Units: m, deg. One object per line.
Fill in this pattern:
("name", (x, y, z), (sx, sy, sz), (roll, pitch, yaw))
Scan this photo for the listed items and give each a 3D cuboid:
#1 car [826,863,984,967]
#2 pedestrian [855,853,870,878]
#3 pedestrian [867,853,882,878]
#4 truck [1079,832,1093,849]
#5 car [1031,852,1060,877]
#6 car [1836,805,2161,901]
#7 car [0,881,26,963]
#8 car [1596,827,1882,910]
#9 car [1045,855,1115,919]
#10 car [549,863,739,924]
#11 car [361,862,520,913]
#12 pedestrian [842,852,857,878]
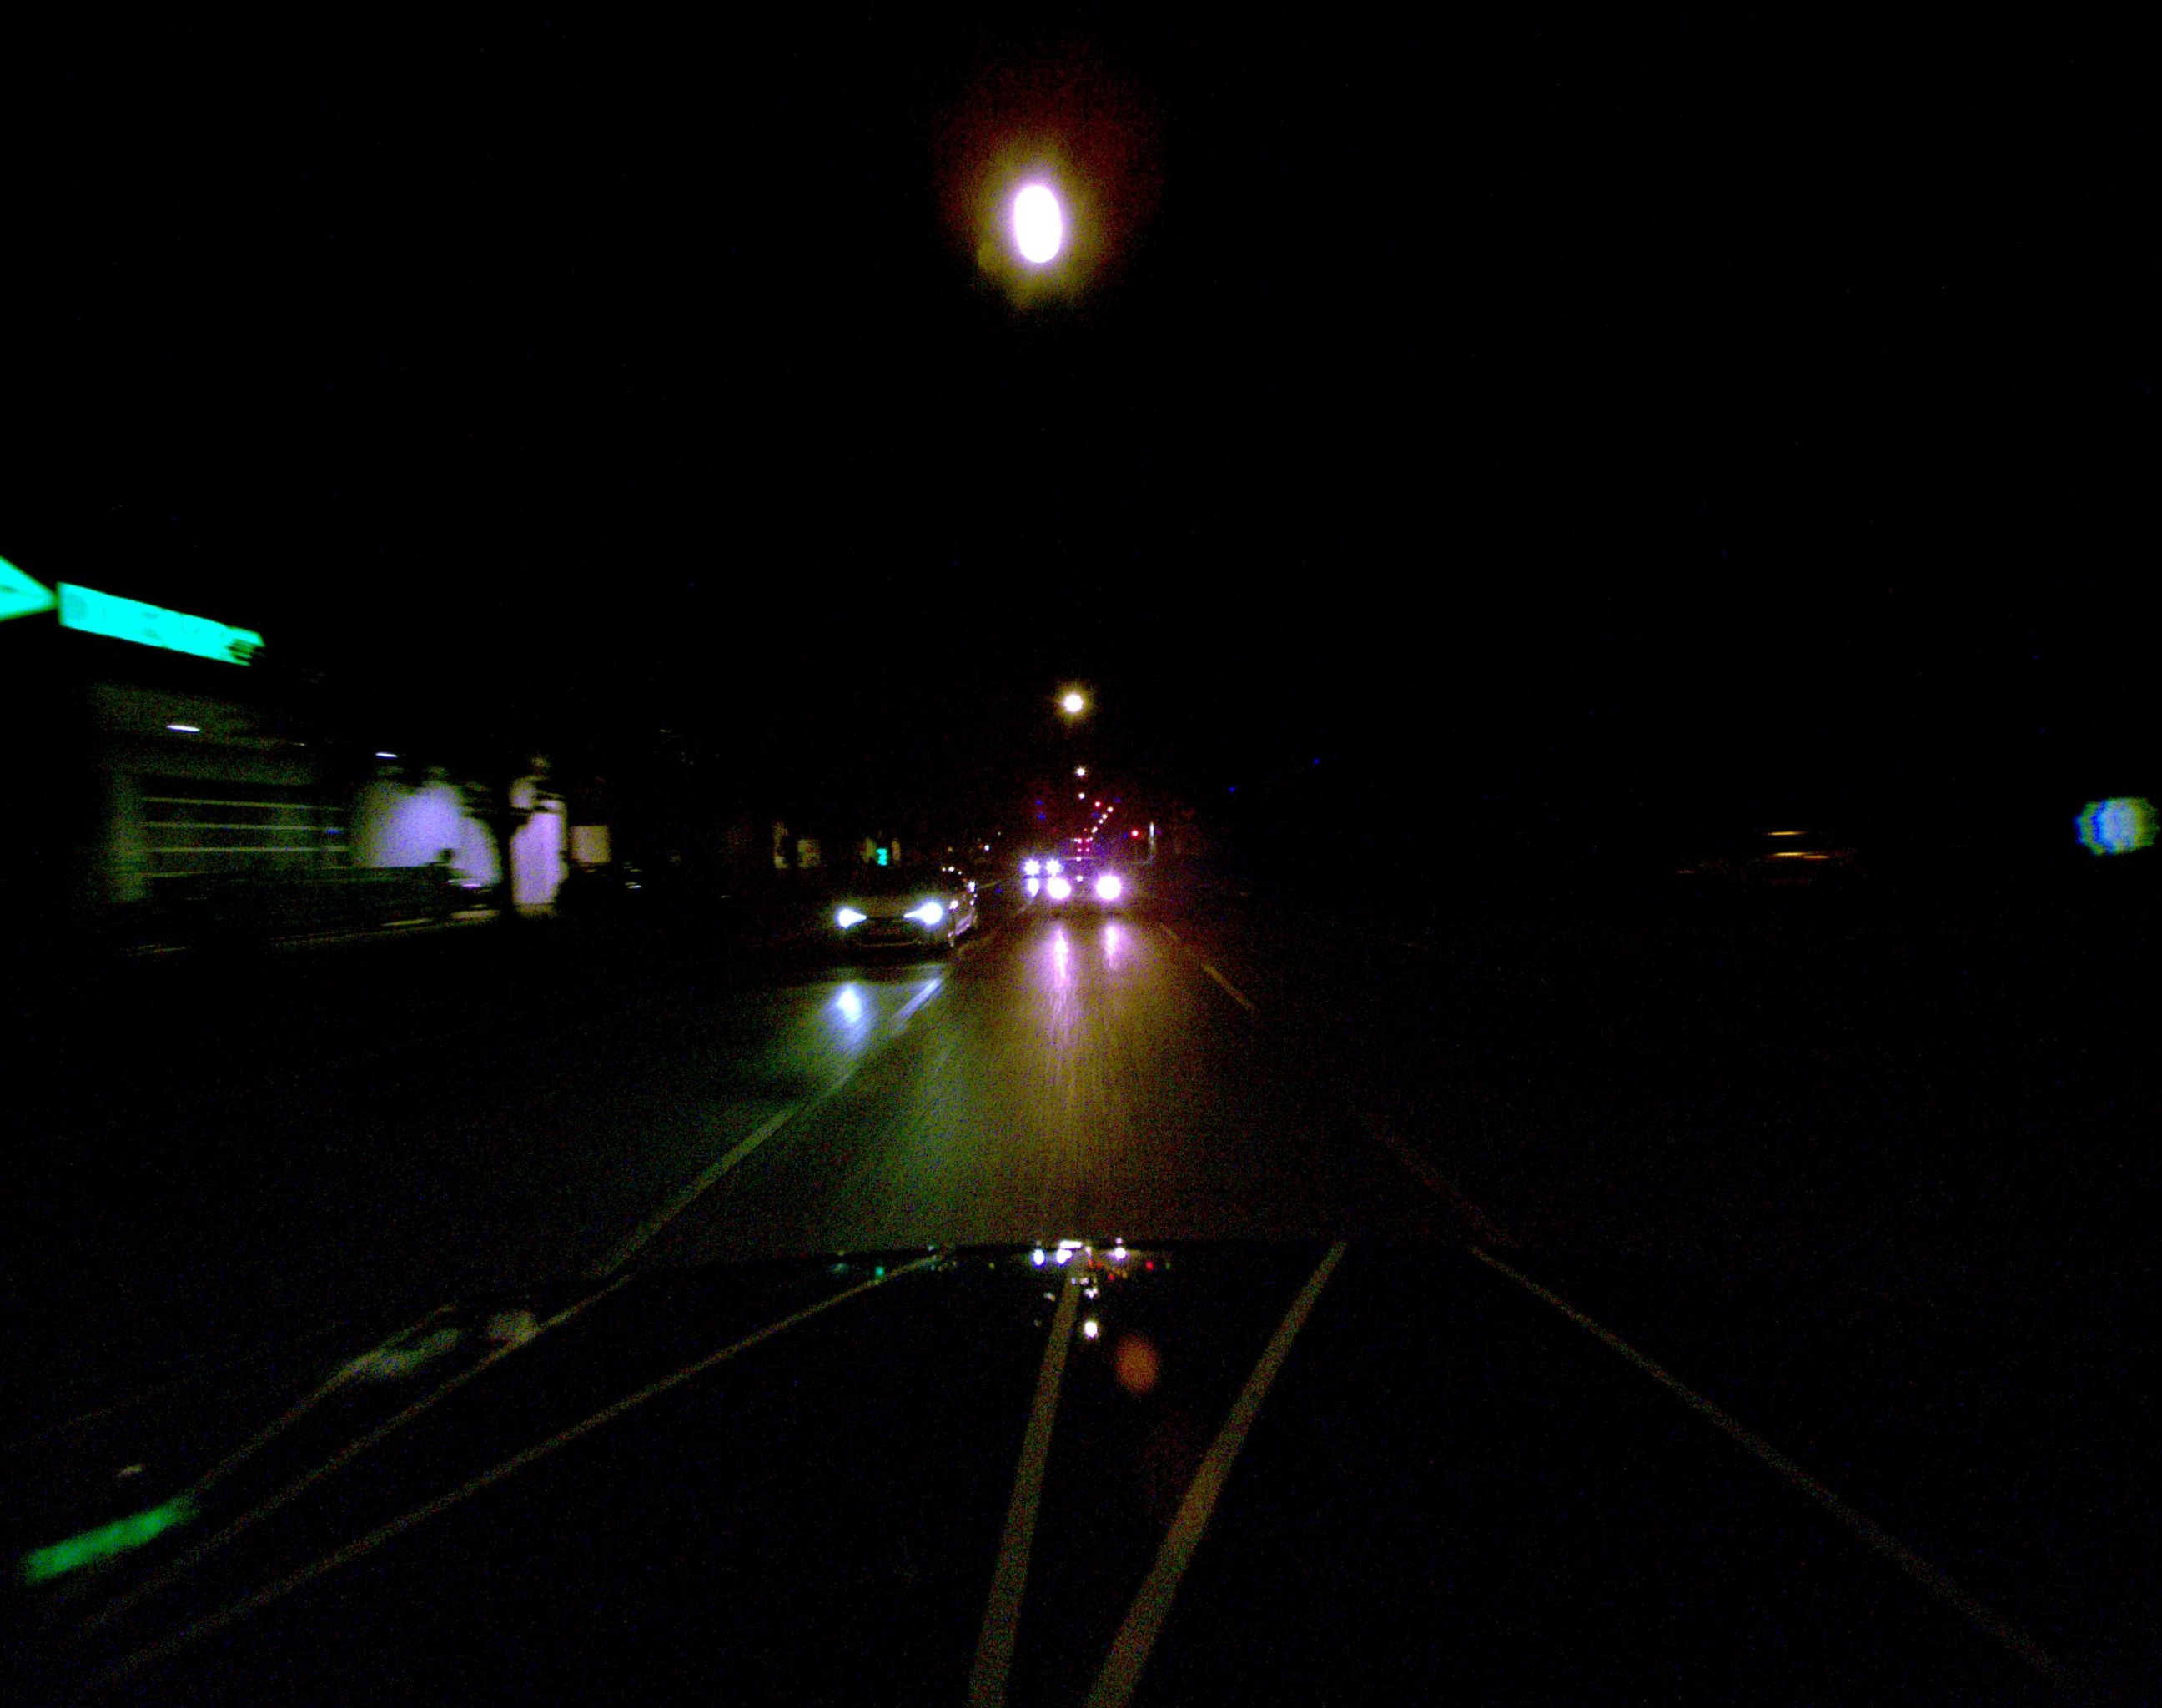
("car", (-3.009, 0.963, 13.968), (1.729, 1.421, 4.497), (-3, 1, 1))
("pedestrian", (-15.533, 0.803, 54.012), (0.721, 1.778, 0.970), (-1, 1, 1))
("pedestrian", (-14.687, 0.813, 53.981), (0.737, 1.707, 0.985), (-1, 1, 1))
("truck", (1.388, -3.848, 216.838), (3.517, 4.558, 9.038), (-3, 1, 0))
("car", (-2.342, 0.669, 51.198), (1.729, 1.455, 3.999), (-4, 1, 0))
("car", (20.527, -0.021, 17.134), (5.001, 1.879, 2.028), (-2, 0, -1))
("car", (-21.869, 1.391, 13.096), (1.731, 1.587, 3.998), (-1, 1, -1))
("car", (14.436, 0.286, 16.883), (4.672, 1.620, 2.003), (-1, 2, -1))
("car", (0.006, 0.812, 20.676), (1.634, 1.430, 3.839), (-3, 1, 1))
("car", (-11.796, 1.038, 20.728), (4.092, 1.446, 1.786), (-1, 1, 0))
("car", (-22.326, 1.139, 26.605), (3.961, 1.557, 1.714), (-2, 2, -3))
("pedestrian", (-16.456, 0.781, 54.000), (0.676, 1.806, 0.906), (-1, 1, 1))
